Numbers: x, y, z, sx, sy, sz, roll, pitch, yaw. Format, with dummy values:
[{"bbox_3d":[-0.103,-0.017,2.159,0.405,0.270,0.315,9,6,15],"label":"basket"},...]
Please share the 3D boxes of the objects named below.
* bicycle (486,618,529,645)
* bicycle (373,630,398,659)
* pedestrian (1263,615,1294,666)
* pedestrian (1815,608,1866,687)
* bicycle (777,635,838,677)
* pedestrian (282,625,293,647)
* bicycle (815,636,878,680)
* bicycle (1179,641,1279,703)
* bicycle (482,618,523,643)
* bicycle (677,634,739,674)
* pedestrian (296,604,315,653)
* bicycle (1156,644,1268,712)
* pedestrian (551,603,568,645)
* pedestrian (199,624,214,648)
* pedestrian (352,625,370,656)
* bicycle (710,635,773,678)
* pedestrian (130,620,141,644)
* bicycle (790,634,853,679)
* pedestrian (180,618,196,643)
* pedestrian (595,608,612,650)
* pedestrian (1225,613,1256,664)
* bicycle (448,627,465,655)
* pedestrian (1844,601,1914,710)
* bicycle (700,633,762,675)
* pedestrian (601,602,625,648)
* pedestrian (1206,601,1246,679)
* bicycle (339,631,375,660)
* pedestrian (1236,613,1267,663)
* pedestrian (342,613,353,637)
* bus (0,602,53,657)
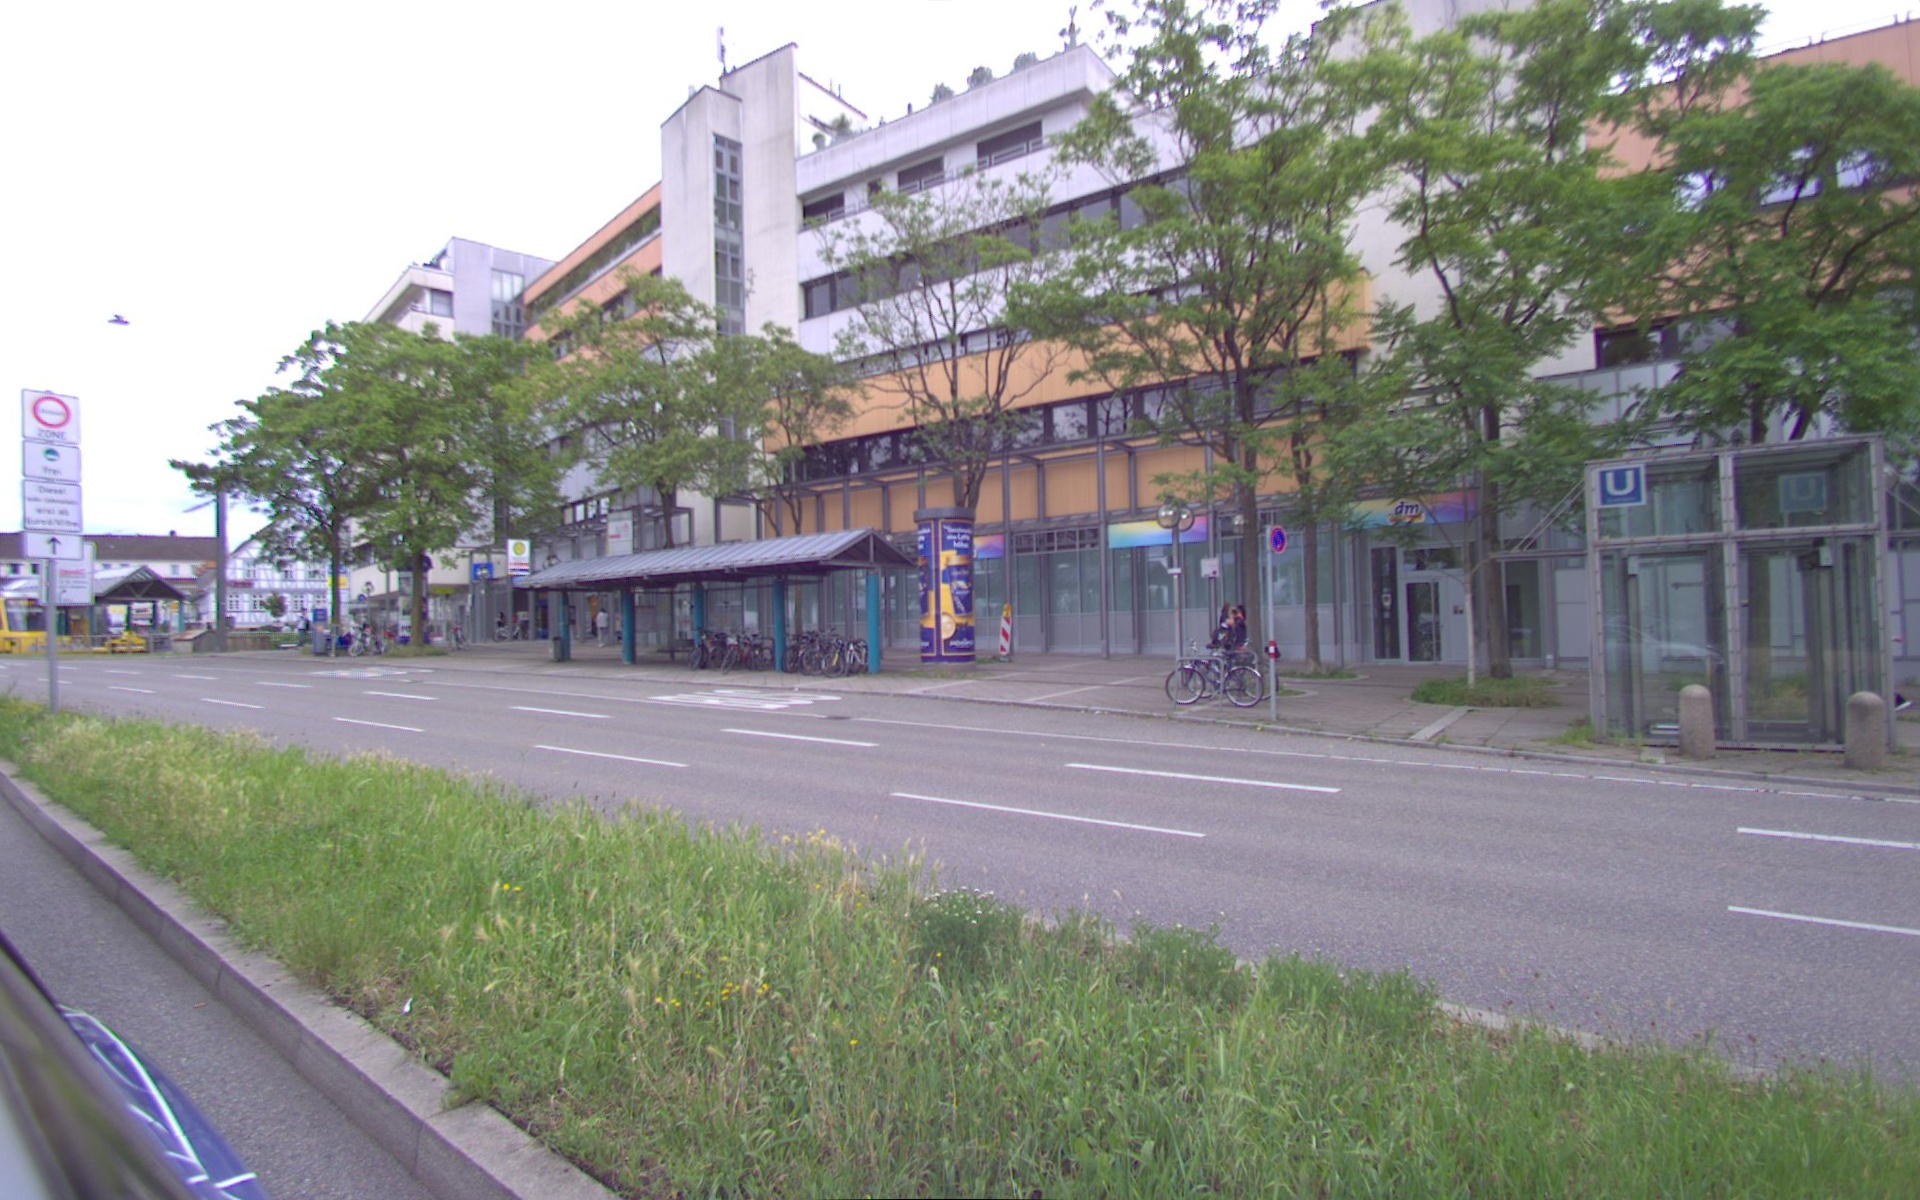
[{"bbox_3d":[-24.958,1.730,55.795,2.107,1.385,0.621,-1,0,-31],"label":"bicycle"},{"bbox_3d":[-22.756,1.757,40.116,0.584,1.085,2.044,0,-1,-21],"label":"bicycle"},{"bbox_3d":[8.811,1.112,28.004,0.694,1.385,0.578,-1,-2,34],"label":"pedestrian"},{"bbox_3d":[17.031,0.909,19.593,0.620,1.515,0.563,-1,-2,31],"label":"pedestrian"},{"bbox_3d":[-4.147,1.518,27.567,0.549,1.048,1.714,-2,-1,38],"label":"bicycle"},{"bbox_3d":[-46.212,2.444,69.563,0.548,1.506,0.454,1,-2,-41],"label":"pedestrian"},{"bbox_3d":[-2.914,1.477,26.067,0.549,1.048,1.714,-2,0,38],"label":"bicycle"},{"bbox_3d":[4.974,1.315,18.797,1.737,1.074,0.542,-2,-1,45],"label":"bicycle"},{"bbox_3d":[-26.106,1.741,57.773,2.106,1.377,0.621,-1,0,-24],"label":"bicycle"},{"bbox_3d":[-7.243,1.538,29.156,0.549,1.048,1.714,-2,0,38],"label":"bicycle"},{"bbox_3d":[-31.143,1.338,48.132,0.608,2.325,0.583,-1,-2,39],"label":"pedestrian"},{"bbox_3d":[4.358,1.326,17.605,0.802,1.068,1.739,0,-1,-40],"label":"bicycle"},{"bbox_3d":[-19.471,1.157,49.205,0.558,2.029,0.611,1,-2,-44],"label":"pedestrian"},{"bbox_3d":[-50.132,2.400,67.324,0.581,1.554,0.570,-1,-2,32],"label":"pedestrian"},{"bbox_3d":[-36.450,2.478,61.604,0.752,1.859,0.755,-1,-2,41],"label":"pedestrian"},{"bbox_3d":[-5.970,1.532,27.729,0.549,1.048,1.714,-2,1,38],"label":"bicycle"},{"bbox_3d":[-70.535,2.727,86.586,0.731,2.029,0.940,1,-2,-39],"label":"pedestrian"},{"bbox_3d":[-3.623,1.461,26.600,0.549,1.048,1.714,-2,0,38],"label":"bicycle"},{"bbox_3d":[-62.507,2.483,81.943,0.867,2.029,1.010,1,-2,-44],"label":"pedestrian"},{"bbox_3d":[-15.483,1.246,43.914,0.639,1.823,0.761,0,-2,-16],"label":"pedestrian"},{"bbox_3d":[7.763,1.067,28.005,0.694,1.385,0.578,-1,-2,34],"label":"pedestrian"},{"bbox_3d":[-21.361,1.712,42.936,0.584,1.134,2.044,1,-1,-26],"label":"bicycle"},{"bbox_3d":[14.481,0.850,15.963,0.721,1.662,0.669,-1,-1,37],"label":"pedestrian"},{"bbox_3d":[-6.465,1.515,28.591,0.549,1.048,1.714,-2,1,38],"label":"bicycle"},{"bbox_3d":[-15.586,1.127,45.474,0.794,2.029,0.701,-1,0,40],"label":"pedestrian"},{"bbox_3d":[6.211,0.926,23.613,0.769,1.800,0.525,-1,-2,33],"label":"pedestrian"},{"bbox_3d":[-23.623,1.770,39.659,0.585,1.085,2.042,0,-1,-12],"label":"bicycle"},{"bbox_3d":[8.239,1.061,28.562,0.694,1.385,0.578,-1,-2,34],"label":"pedestrian"},{"bbox_3d":[-30.944,1.249,51.149,0.368,1.188,0.338,-1,-2,31],"label":"pedestrian"},{"bbox_3d":[-55.992,1.690,58.622,8.470,3.006,2.530,-1,-2,29],"label":"bus"}]
